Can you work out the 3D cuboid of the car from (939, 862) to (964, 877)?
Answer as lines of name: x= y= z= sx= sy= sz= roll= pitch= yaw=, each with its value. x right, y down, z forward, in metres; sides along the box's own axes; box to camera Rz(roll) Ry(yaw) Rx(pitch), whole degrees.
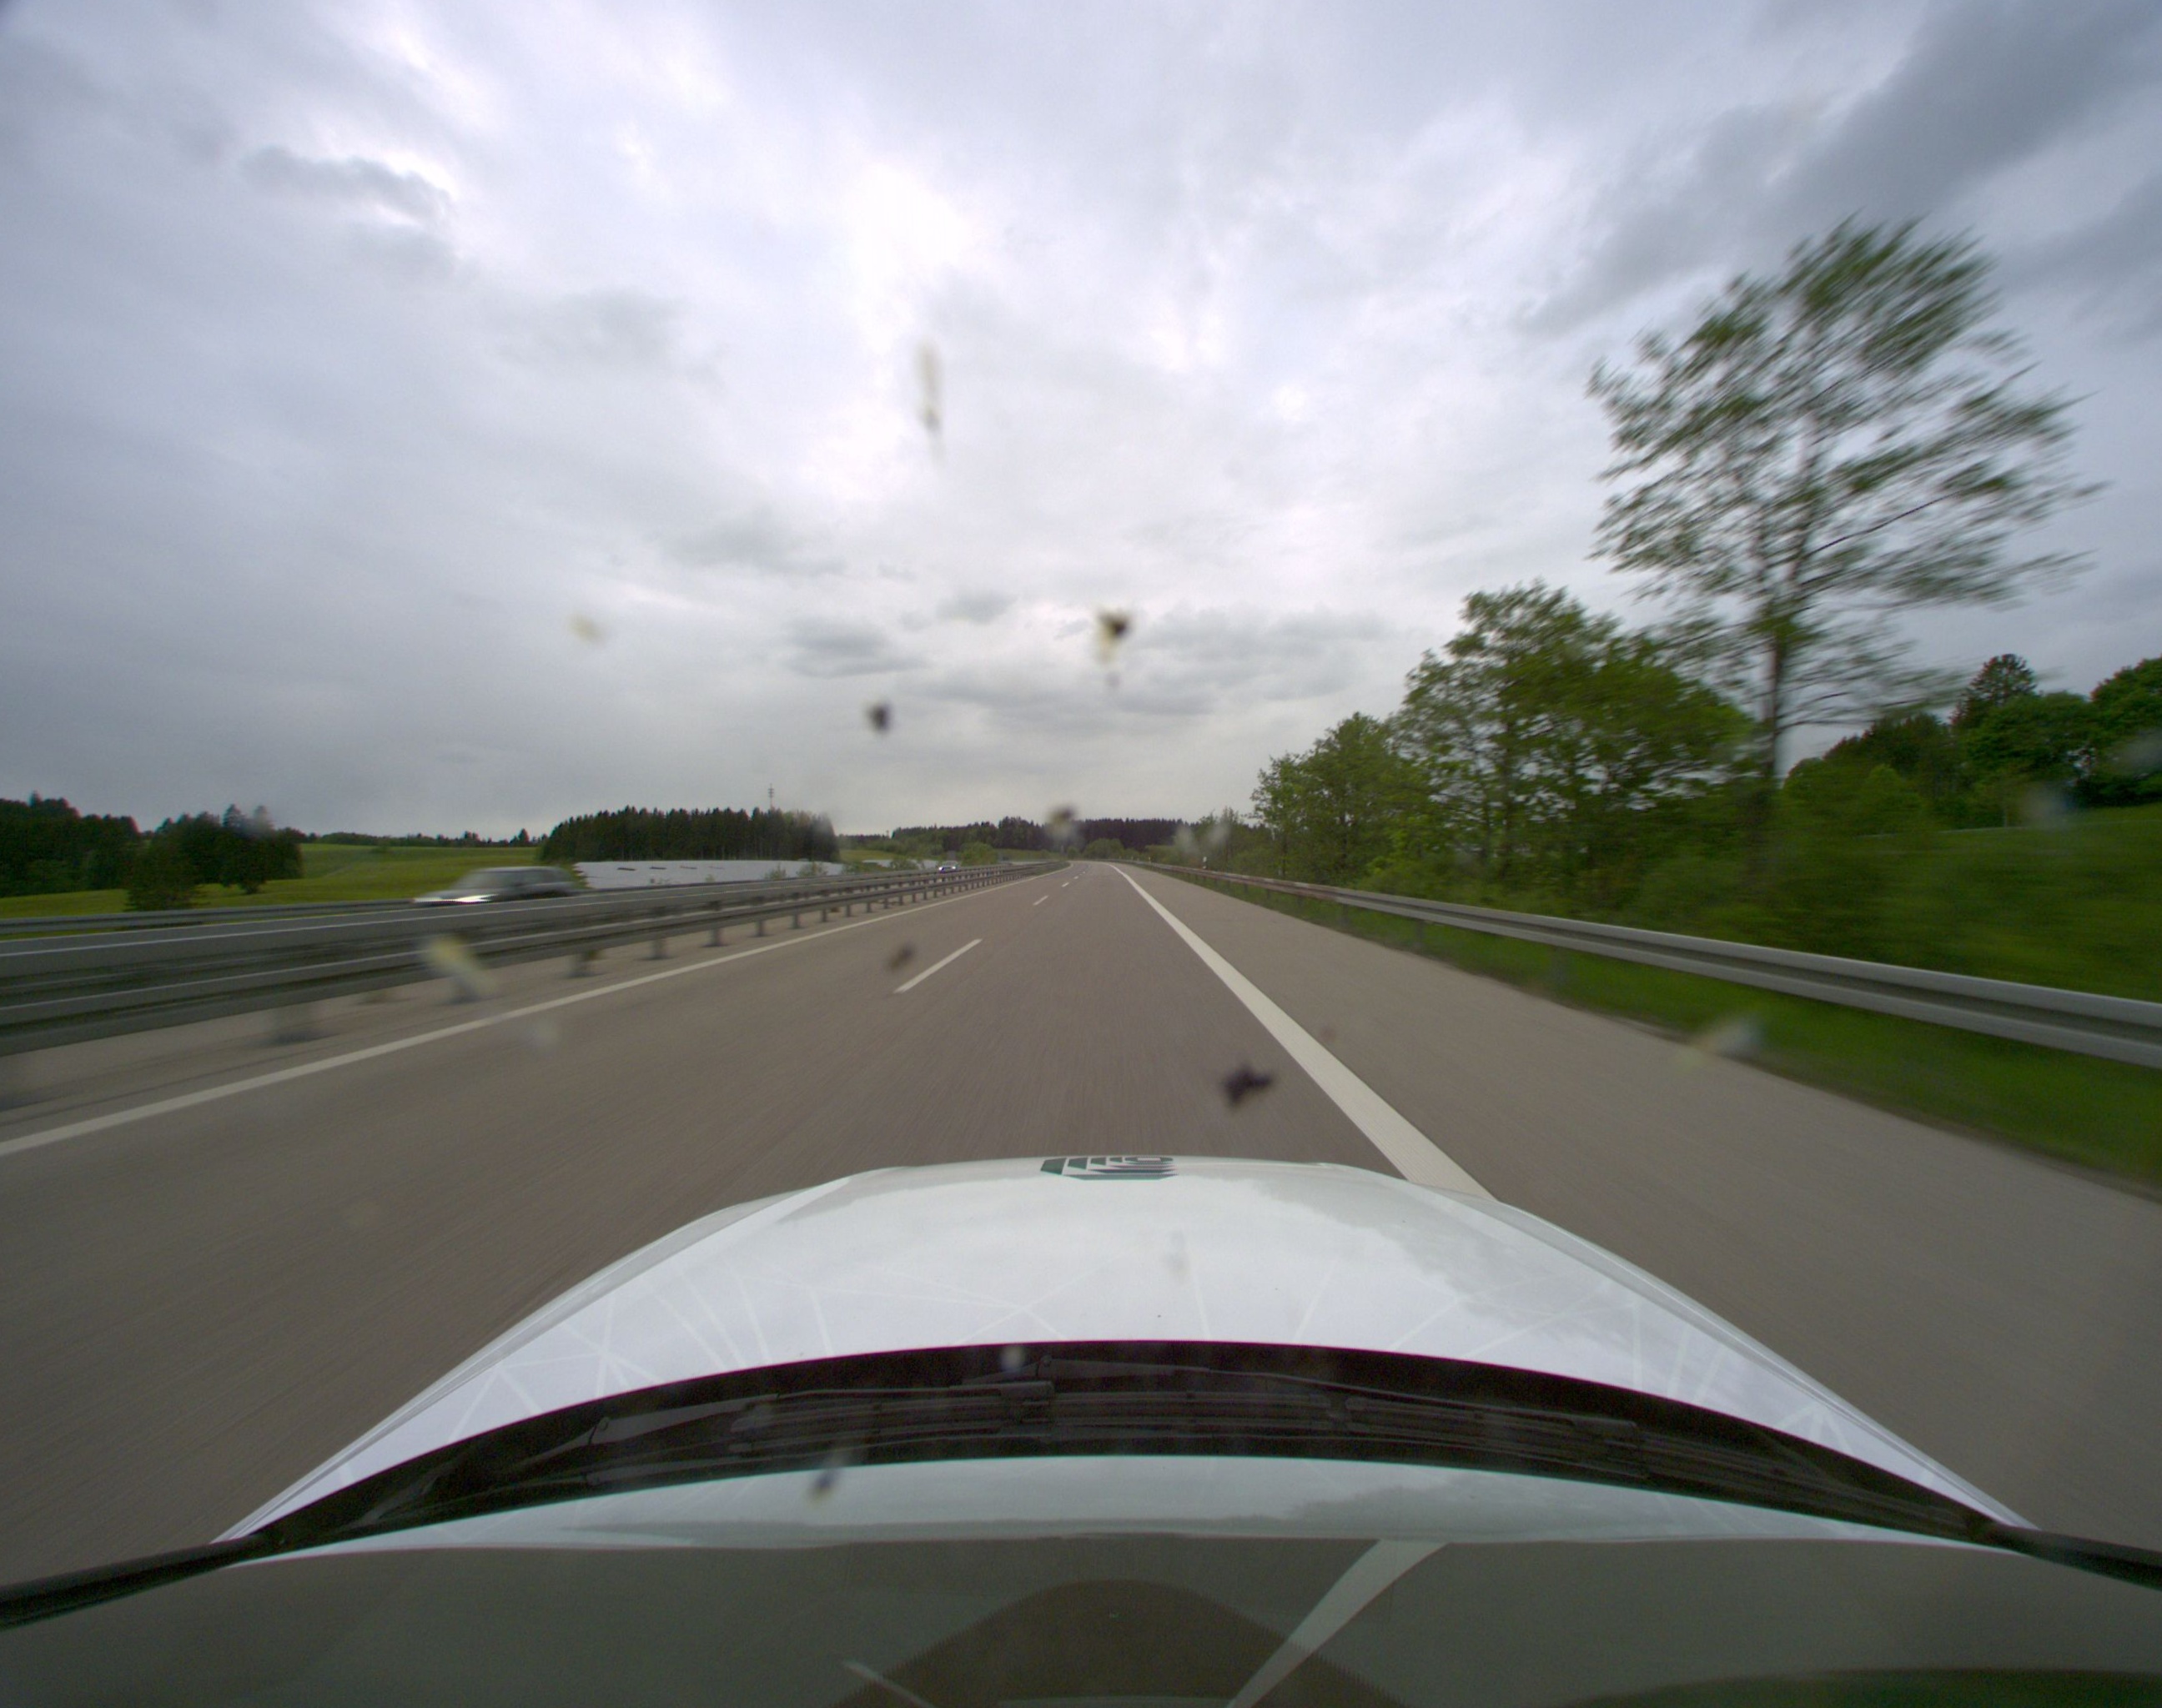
car: x=-14.653 y=1.762 z=92.227 sx=1.987 sy=1.617 sz=4.847 roll=-1 pitch=-1 yaw=0

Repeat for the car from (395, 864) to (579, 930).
car: x=-16.203 y=1.107 z=22.523 sx=1.892 sy=1.612 sz=4.230 roll=-1 pitch=0 yaw=1
